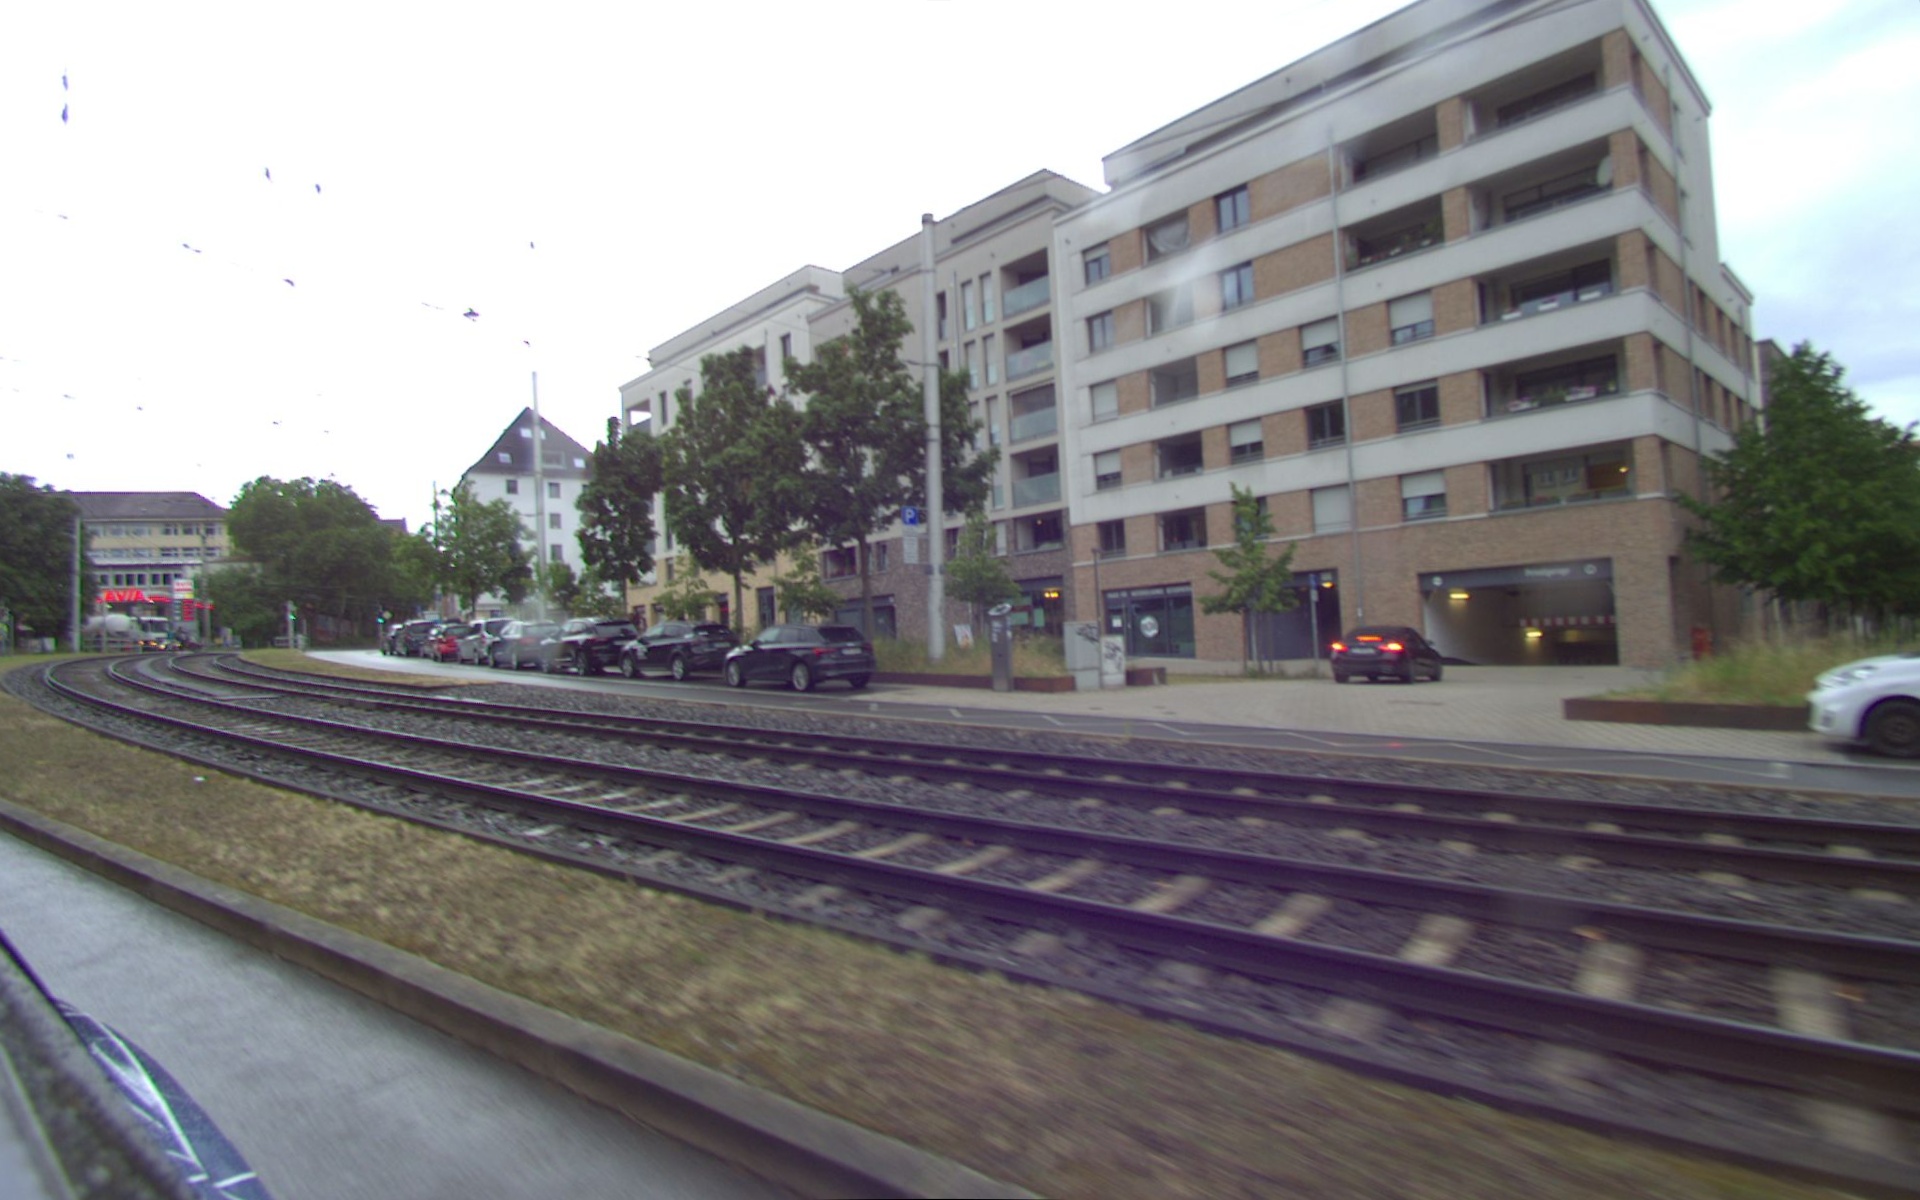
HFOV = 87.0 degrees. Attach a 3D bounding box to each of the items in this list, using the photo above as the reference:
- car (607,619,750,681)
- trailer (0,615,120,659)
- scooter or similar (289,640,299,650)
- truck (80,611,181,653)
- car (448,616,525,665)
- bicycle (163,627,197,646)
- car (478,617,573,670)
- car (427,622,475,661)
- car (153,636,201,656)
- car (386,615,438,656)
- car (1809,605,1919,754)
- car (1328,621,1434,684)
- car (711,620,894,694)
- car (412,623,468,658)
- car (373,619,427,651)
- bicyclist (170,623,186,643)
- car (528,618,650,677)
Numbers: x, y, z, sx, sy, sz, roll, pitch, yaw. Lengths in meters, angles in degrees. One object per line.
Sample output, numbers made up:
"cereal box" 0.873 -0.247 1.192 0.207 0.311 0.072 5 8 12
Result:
"car" -7.631 1.303 27.200 4.257 1.500 1.718 -2 -1 43
"trailer" -76.764 3.083 84.650 9.670 3.421 2.821 -1 -1 -15
"scooter or similar" -80.536 5.434 122.439 0.394 1.201 1.365 -1 1 -7
"truck" -70.699 2.708 86.415 6.022 3.425 2.845 0 -2 -14
"car" -18.448 1.535 39.350 1.642 1.761 4.264 0 -1 -40
"bicycle" -50.610 2.363 65.676 1.685 1.149 0.626 0 -2 -42
"car" -14.965 1.459 34.716 1.710 1.657 4.539 -1 -1 -40
"car" -21.643 1.751 42.985 1.449 1.542 2.939 0 -1 -34
"car" -62.943 3.649 81.415 1.858 1.502 3.861 0 -1 -17
"car" -27.521 1.773 50.797 1.561 1.873 4.342 -2 0 -38
"car" 10.908 0.779 10.012 3.735 1.490 1.746 -2 -2 43
"car" 10.632 1.280 25.411 1.758 1.446 3.954 -1 -2 33
"car" -3.617 1.216 22.752 4.201 1.442 1.944 -2 -1 45
"car" -24.096 1.841 46.795 1.530 1.458 4.409 -2 0 -37
"car" -30.349 1.861 54.773 1.967 1.617 4.224 -1 -1 -37
"bicyclist" -50.792 2.125 65.707 0.788 1.304 0.595 0 -1 -42
"car" -11.280 1.394 30.560 1.781 1.595 4.703 -1 -1 -43
